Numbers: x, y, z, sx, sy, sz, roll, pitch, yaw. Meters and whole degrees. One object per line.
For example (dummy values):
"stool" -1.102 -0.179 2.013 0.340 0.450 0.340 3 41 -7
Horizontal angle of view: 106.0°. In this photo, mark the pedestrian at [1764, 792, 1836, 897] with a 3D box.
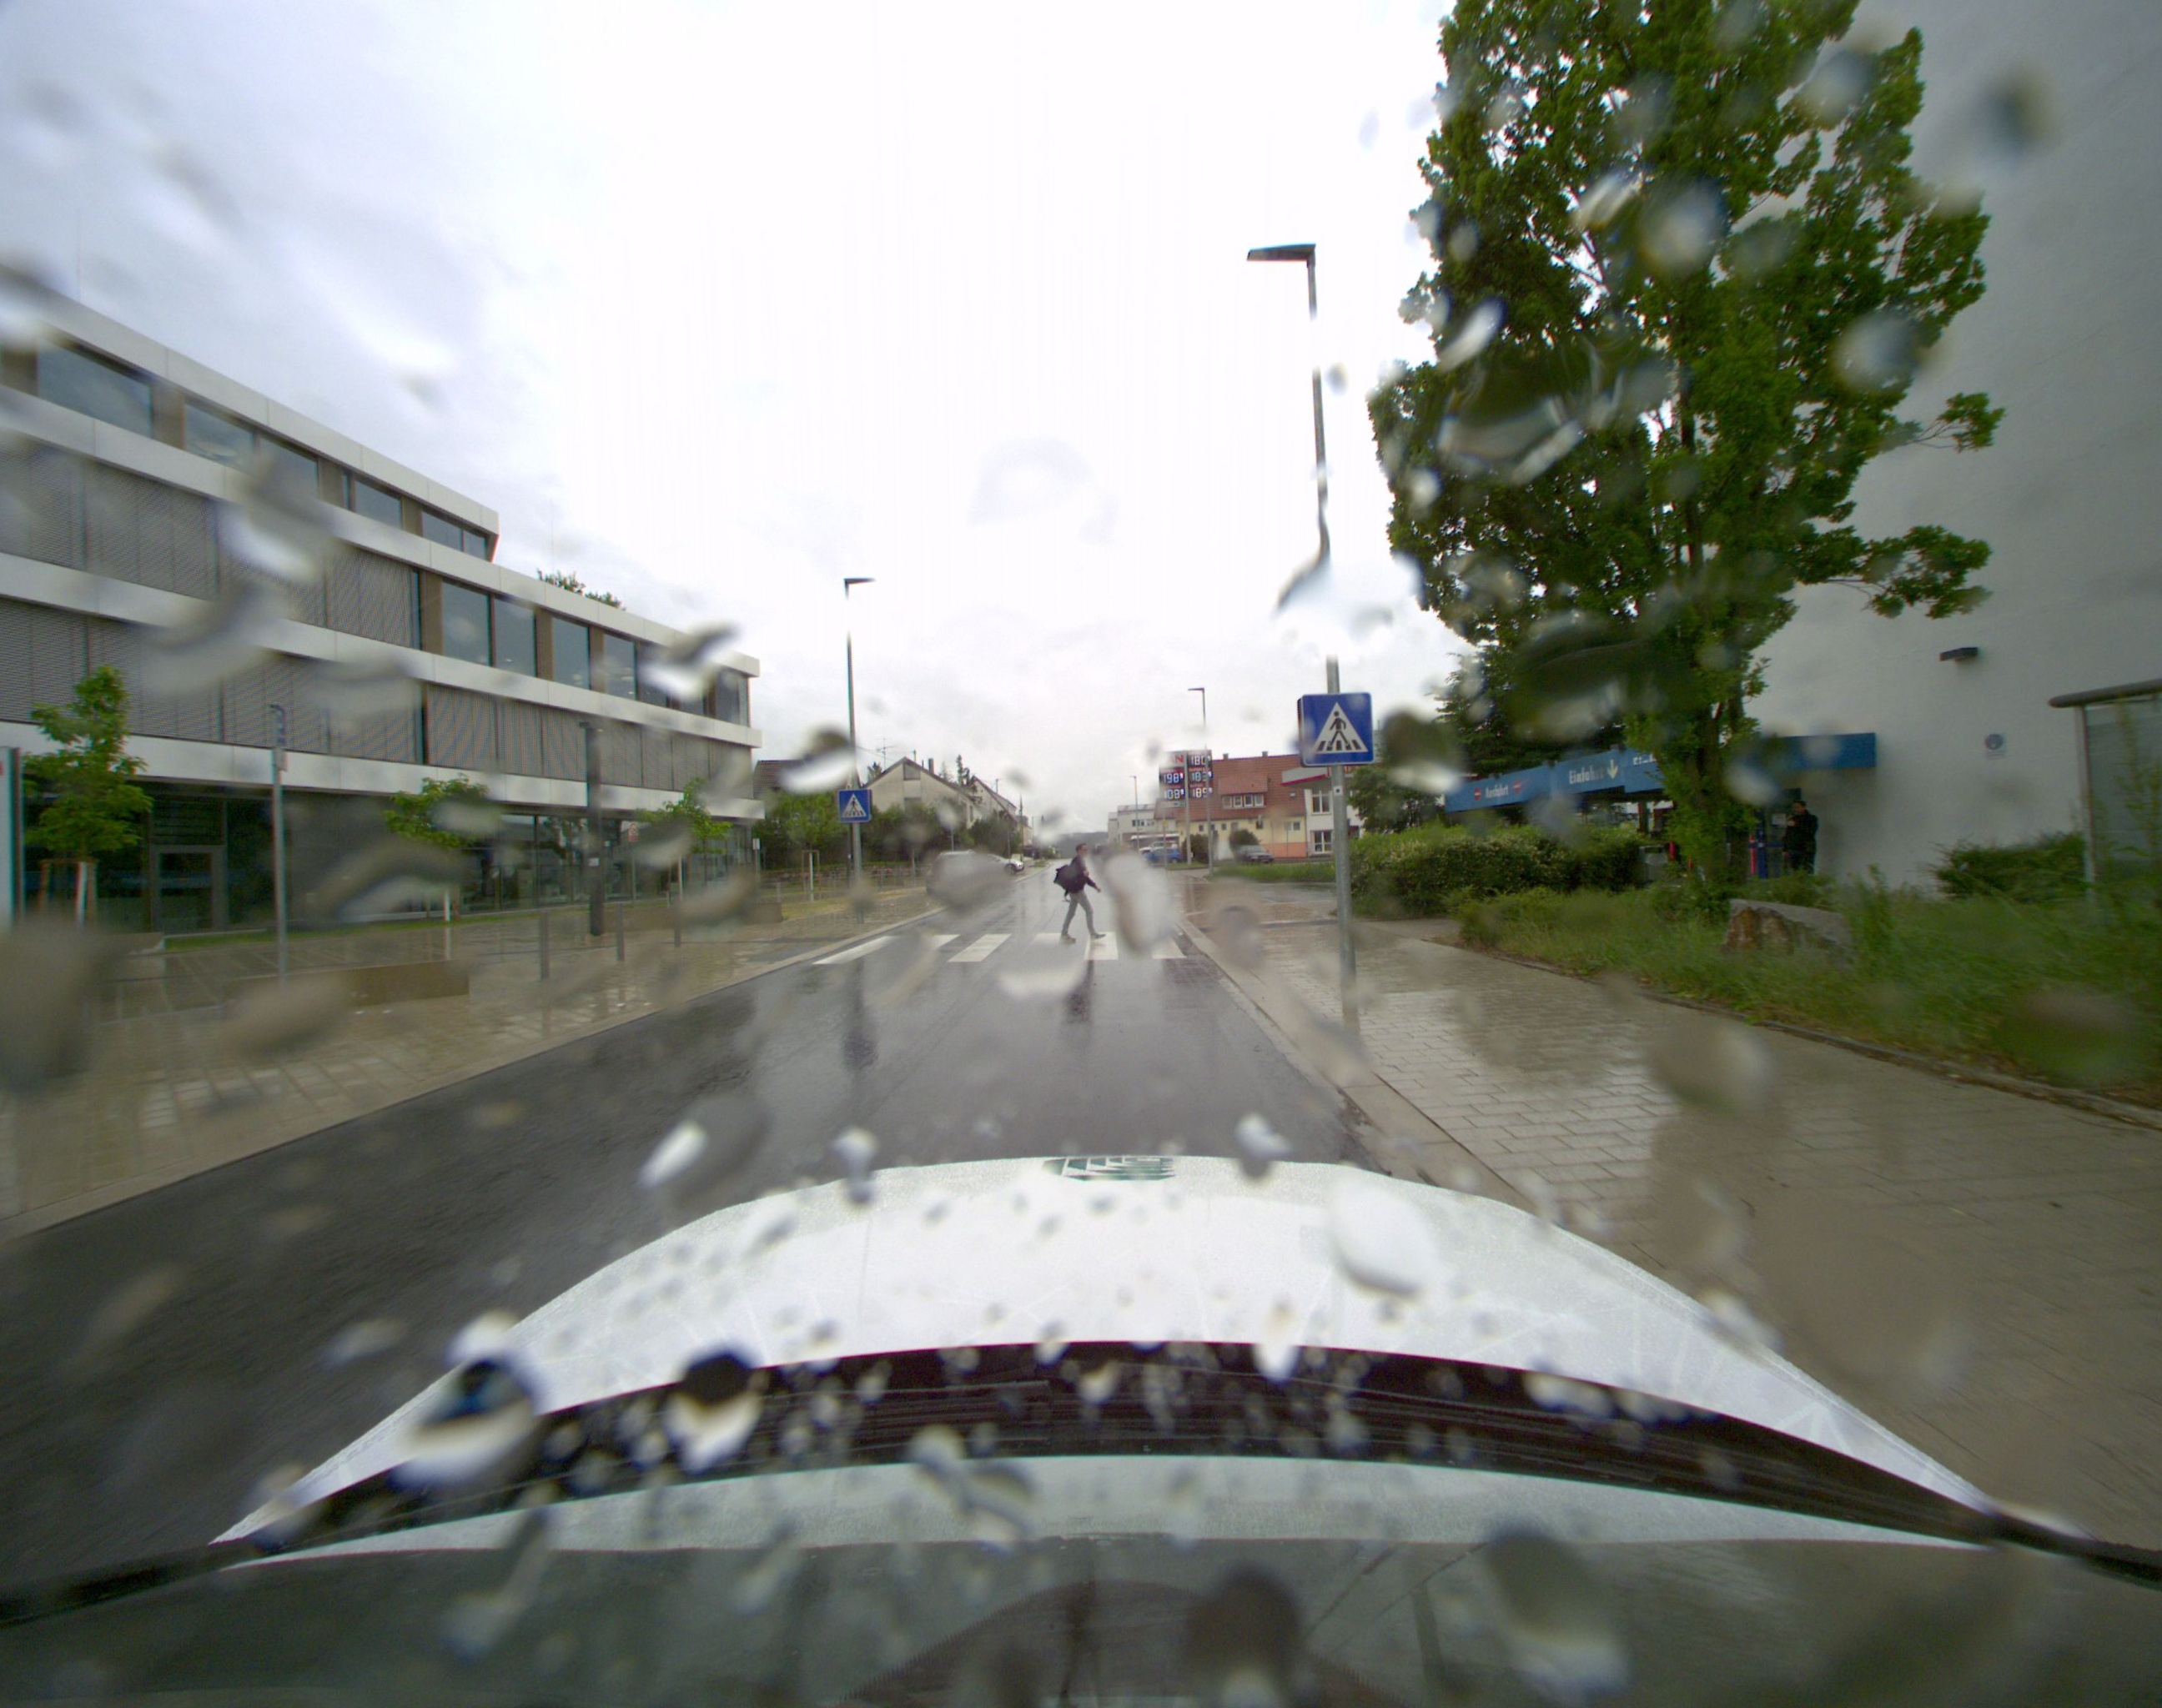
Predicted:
"pedestrian" 13.069 -0.167 14.815 0.567 1.836 0.772 -2 0 -1

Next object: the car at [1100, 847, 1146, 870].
"car" 3.144 0.351 60.240 1.930 1.556 4.023 0 -2 27

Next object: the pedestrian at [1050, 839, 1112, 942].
"pedestrian" 0.000 0.618 14.289 1.010 1.724 0.772 -2 0 -1

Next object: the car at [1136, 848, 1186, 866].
"car" 6.925 0.262 70.384 3.954 1.493 1.866 1 -2 19

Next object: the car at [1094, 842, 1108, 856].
"car" 2.627 -0.609 105.827 1.776 1.706 4.001 1 -2 2

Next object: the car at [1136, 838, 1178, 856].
"car" 7.748 -0.695 83.206 4.101 1.706 1.787 1 -2 -2

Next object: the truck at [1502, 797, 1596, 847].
"truck" 21.873 -1.456 38.245 1.990 2.014 3.993 1 -2 -4

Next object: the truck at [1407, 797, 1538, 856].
"truck" 25.291 -1.700 52.677 7.731 3.445 2.667 2 -2 -14

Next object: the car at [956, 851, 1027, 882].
"car" -6.134 0.874 56.275 4.746 2.014 1.996 1 -2 -5

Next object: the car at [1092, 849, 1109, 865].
"car" 2.373 0.374 99.065 1.986 1.706 4.001 1 -2 2

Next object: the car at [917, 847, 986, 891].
"car" -5.257 0.581 33.667 1.986 1.629 4.155 -3 0 2

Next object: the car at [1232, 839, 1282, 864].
"car" 11.856 -0.122 55.133 1.993 1.552 3.986 2 -2 -10

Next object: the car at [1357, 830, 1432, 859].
"car" 17.574 -0.536 45.711 3.526 1.556 1.942 0 -1 -19
